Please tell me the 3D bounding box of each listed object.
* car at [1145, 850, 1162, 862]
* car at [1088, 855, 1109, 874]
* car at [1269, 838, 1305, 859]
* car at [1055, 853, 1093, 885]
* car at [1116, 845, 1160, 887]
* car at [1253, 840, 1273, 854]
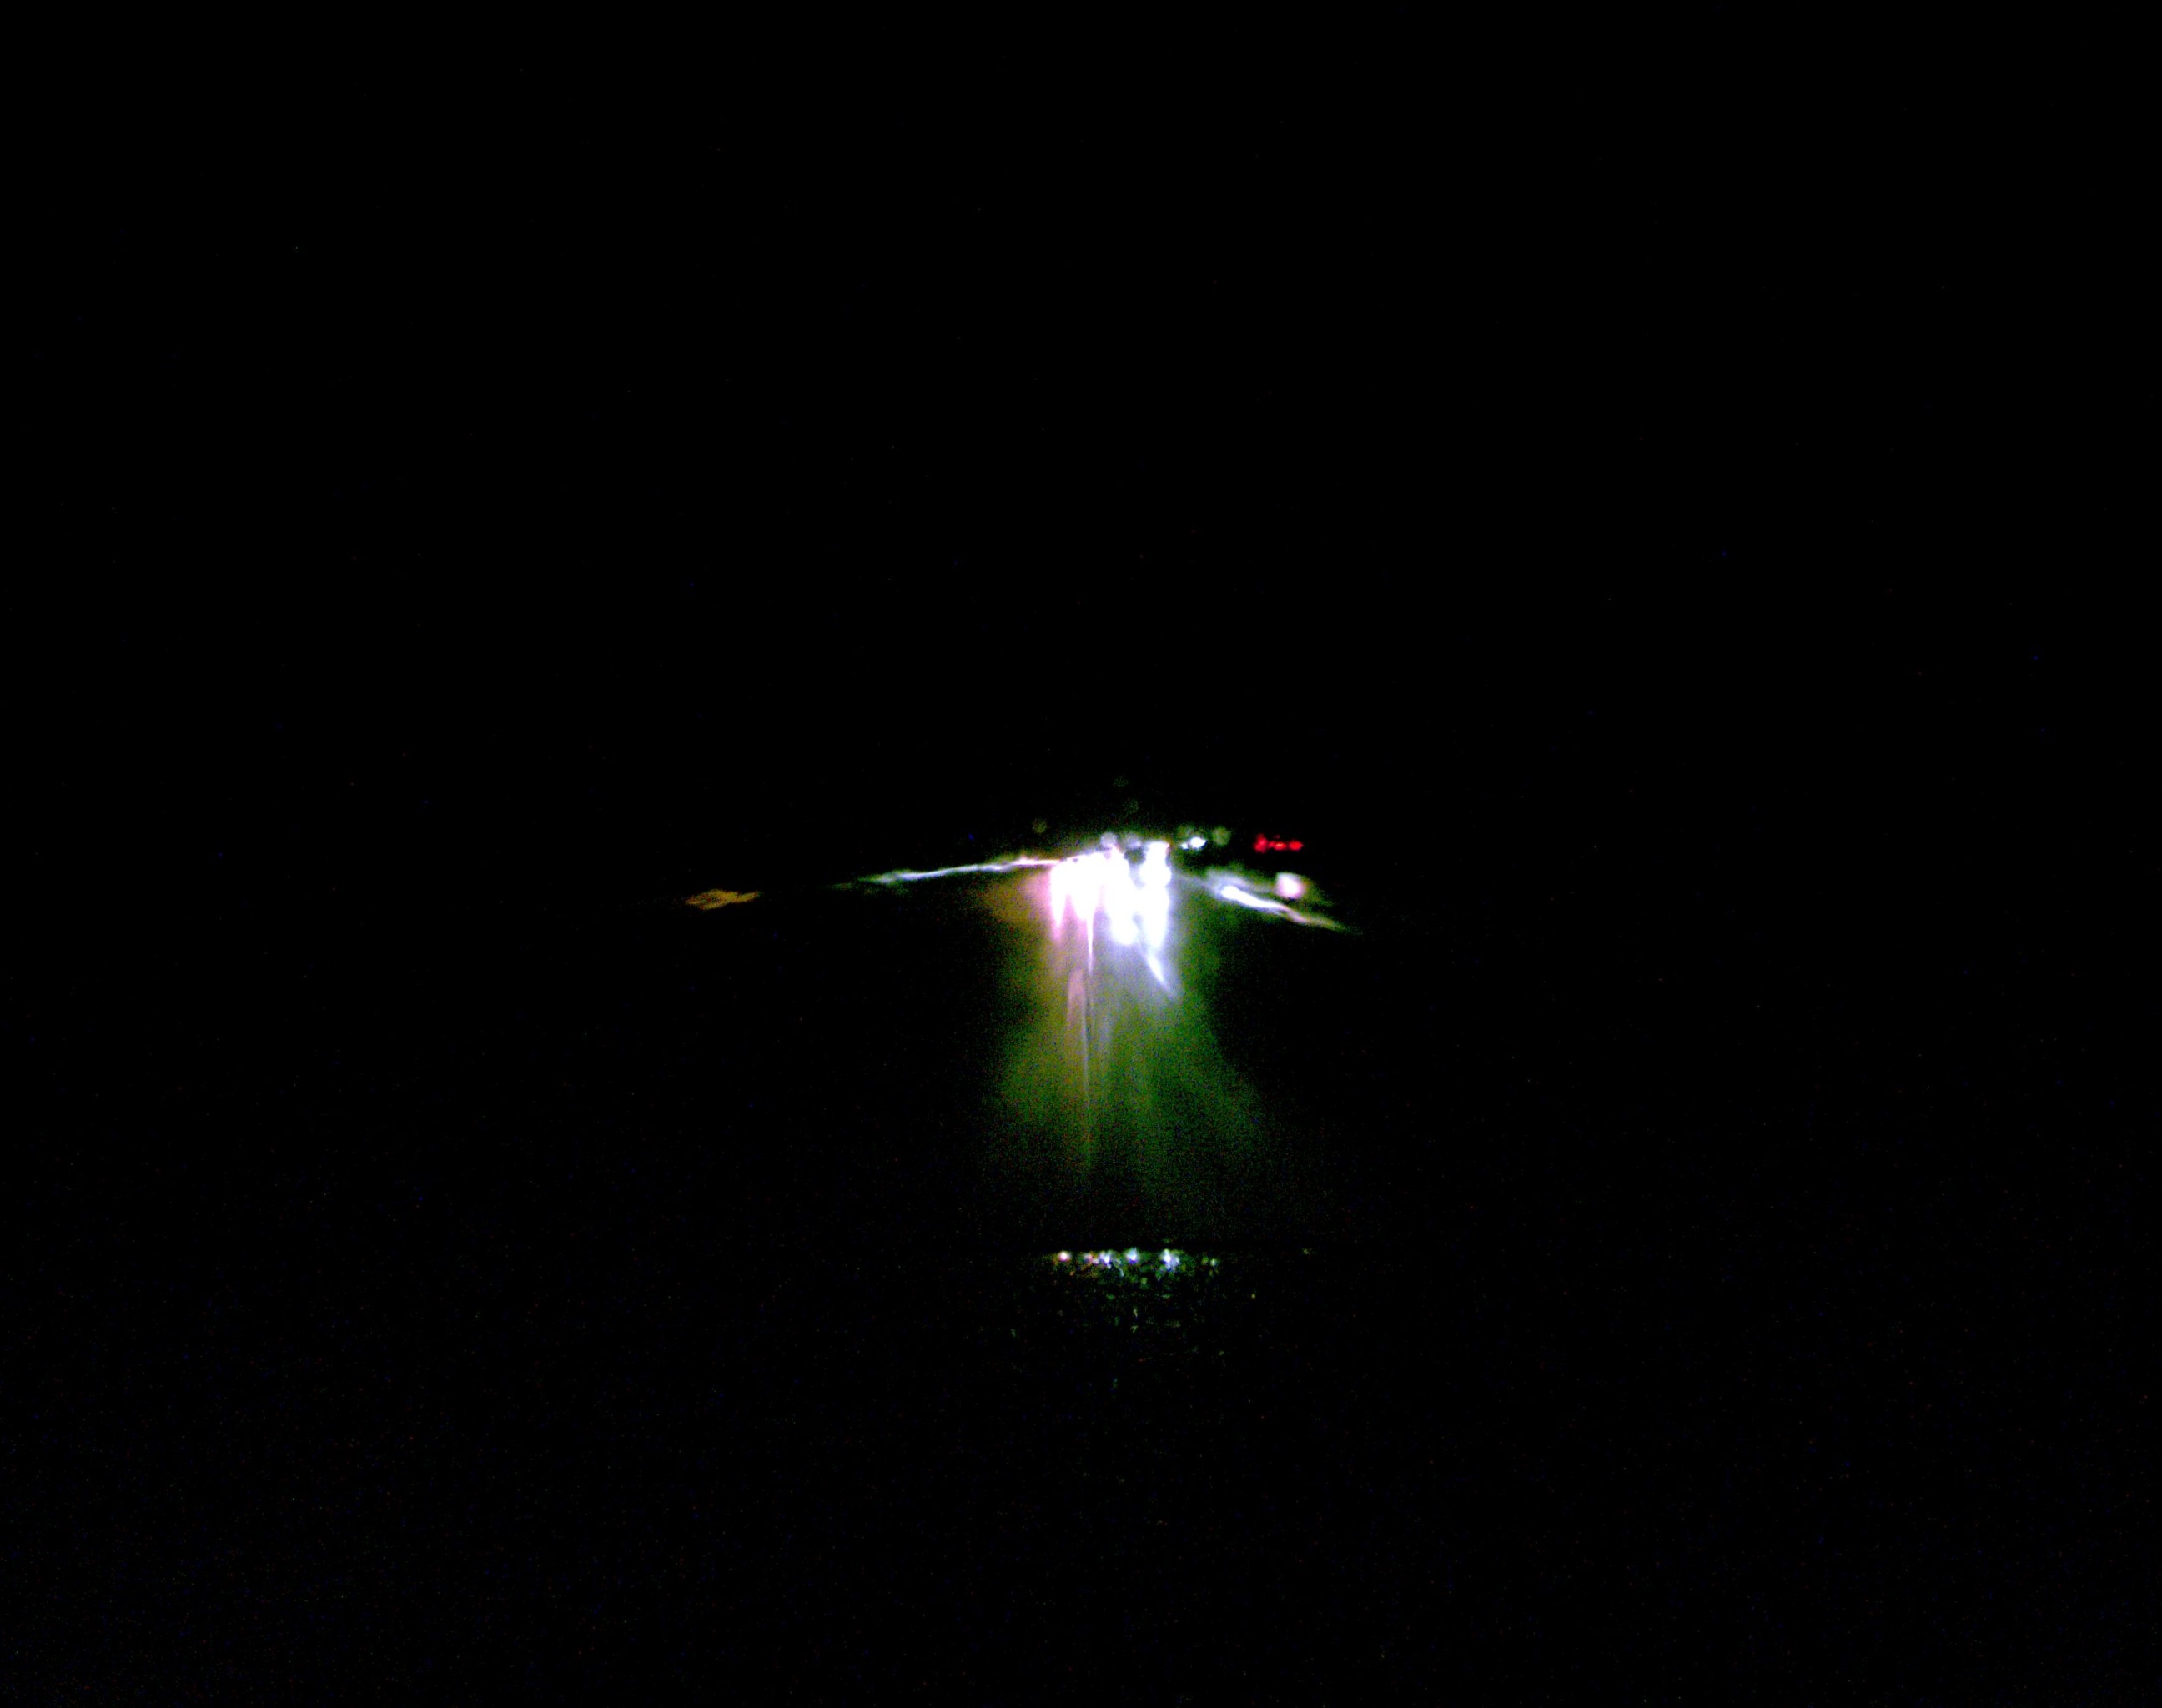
[{"bbox_3d":[12.099,0.340,126.139,1.997,1.802,4.004,-6,-1,15],"label":"car"},{"bbox_3d":[1.716,1.042,74.943,1.848,1.614,3.679,-5,-1,0],"label":"car"},{"bbox_3d":[17.488,-0.432,64.745,1.998,1.469,4.001,-6,-1,3],"label":"car"},{"bbox_3d":[-0.348,0.794,43.402,1.804,1.608,4.257,-3,1,3],"label":"car"},{"bbox_3d":[3.099,0.614,40.586,1.997,2.001,4.002,-5,-1,7],"label":"car"},{"bbox_3d":[24.815,-0.924,103.863,1.998,1.595,4.002,-6,-1,6],"label":"car"}]
